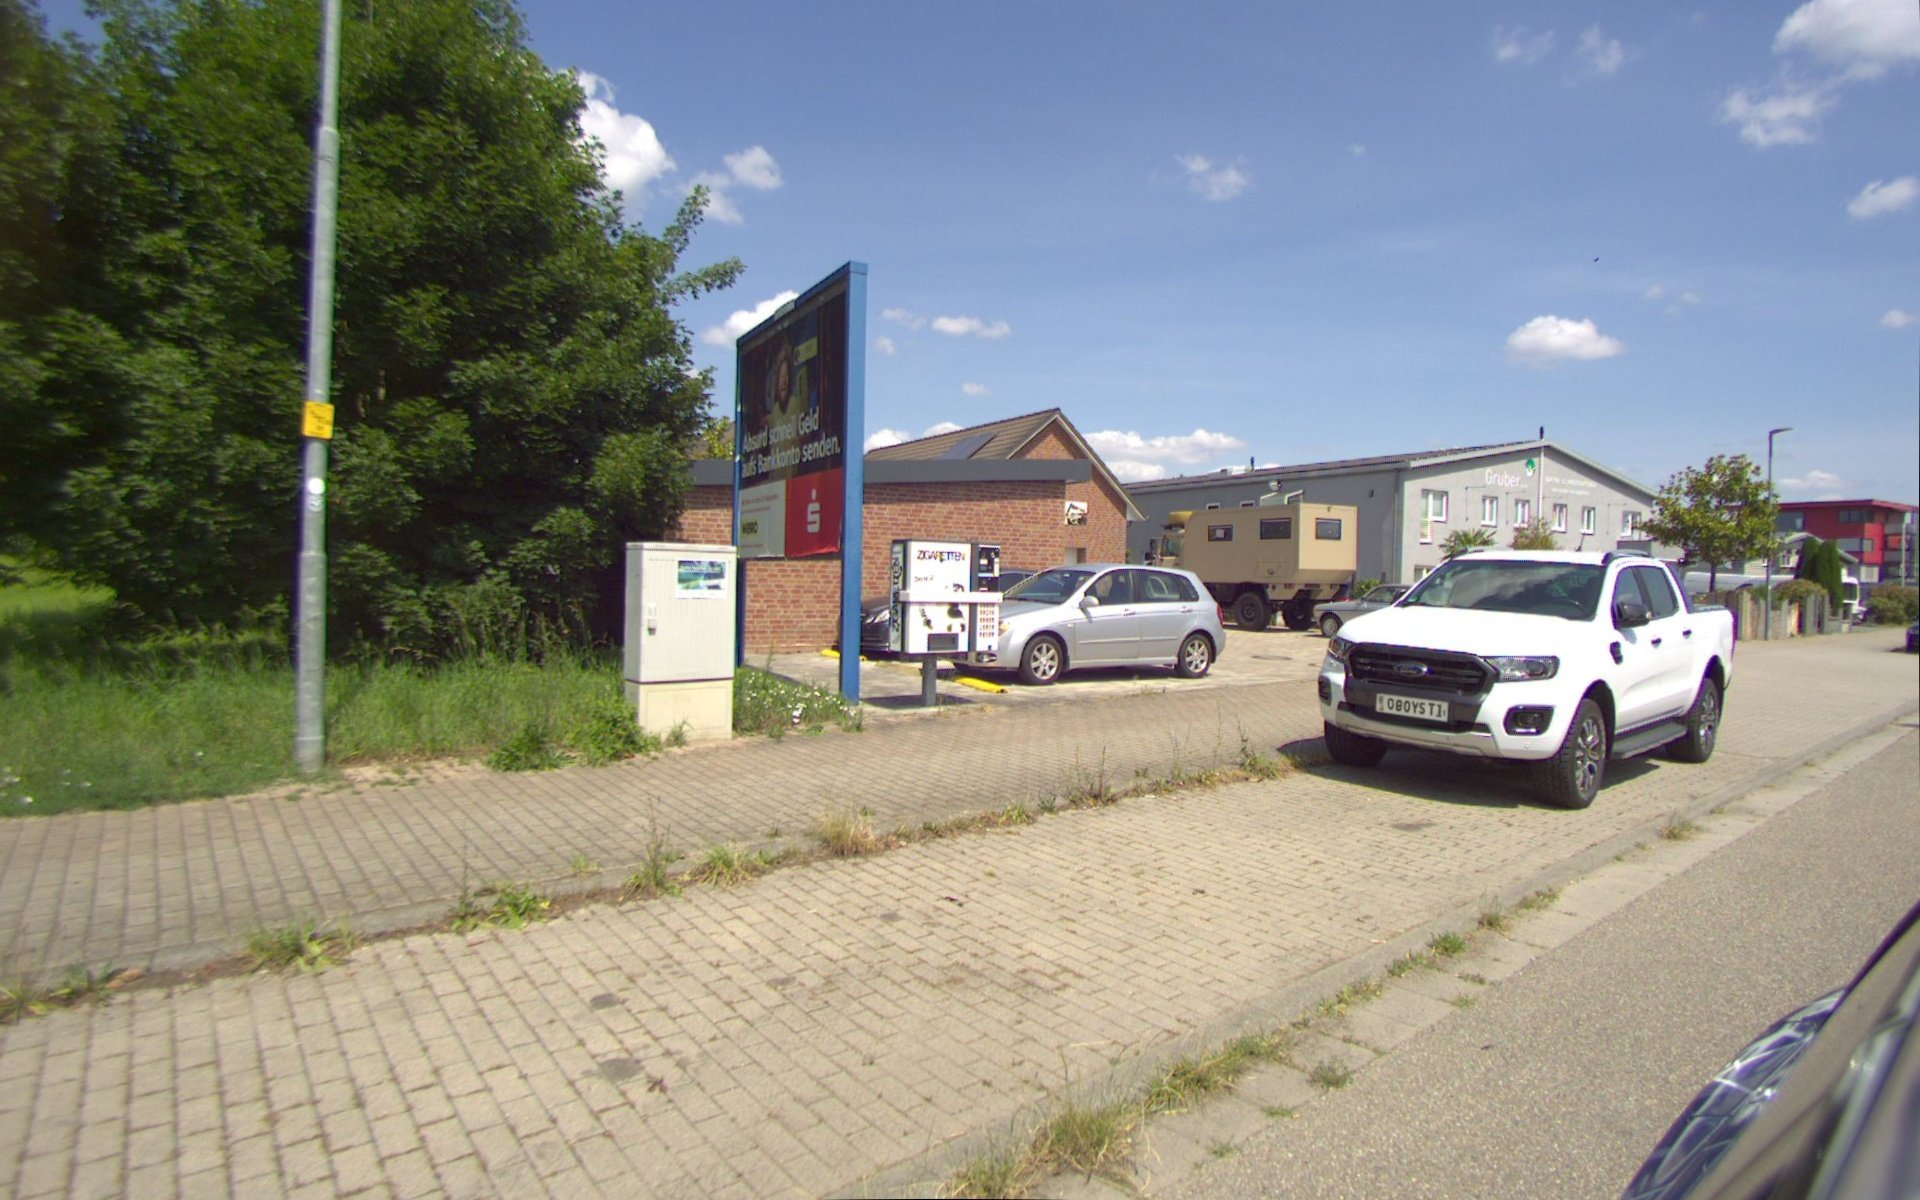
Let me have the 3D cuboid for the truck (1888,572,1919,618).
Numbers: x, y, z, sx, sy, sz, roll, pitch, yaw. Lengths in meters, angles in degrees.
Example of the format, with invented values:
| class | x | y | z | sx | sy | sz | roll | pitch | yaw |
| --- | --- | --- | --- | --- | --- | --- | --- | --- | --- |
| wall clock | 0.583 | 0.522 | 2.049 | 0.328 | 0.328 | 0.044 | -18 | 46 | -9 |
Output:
| class | x | y | z | sx | sy | sz | roll | pitch | yaw |
| --- | --- | --- | --- | --- | --- | --- | --- | --- | --- |
| truck | 60.119 | -0.262 | 62.649 | 5.669 | 2.722 | 2.388 | 1 | 2 | -32 |

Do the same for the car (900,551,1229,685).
| class | x | y | z | sx | sy | sz | roll | pitch | yaw |
| --- | --- | --- | --- | --- | --- | --- | --- | --- | --- |
| car | 1.408 | 0.177 | 13.224 | 3.922 | 1.498 | 1.913 | 1 | 2 | -33 |

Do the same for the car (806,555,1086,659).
| class | x | y | z | sx | sy | sz | roll | pitch | yaw |
| --- | --- | --- | --- | --- | --- | --- | --- | --- | --- |
| car | -0.182 | 0.078 | 15.485 | 3.920 | 1.393 | 1.754 | 1 | 2 | -31 |

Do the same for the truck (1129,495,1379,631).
| class | x | y | z | sx | sy | sz | roll | pitch | yaw |
| --- | --- | --- | --- | --- | --- | --- | --- | --- | --- |
| truck | 8.209 | -1.052 | 29.095 | 3.045 | 3.430 | 6.489 | 1 | 2 | -32 |

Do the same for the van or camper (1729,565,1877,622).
| class | x | y | z | sx | sy | sz | roll | pitch | yaw |
| --- | --- | --- | --- | --- | --- | --- | --- | --- | --- |
| van or camper | 41.071 | -0.356 | 49.457 | 1.959 | 2.565 | 5.118 | 1 | 2 | -26 |

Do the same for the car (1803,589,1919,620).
| class | x | y | z | sx | sy | sz | roll | pitch | yaw |
| --- | --- | --- | --- | --- | --- | --- | --- | --- | --- |
| car | 49.862 | 0.217 | 56.079 | 1.683 | 1.505 | 4.606 | 0 | 2 | -39 |

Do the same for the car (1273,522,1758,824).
| class | x | y | z | sx | sy | sz | roll | pitch | yaw |
| --- | --- | --- | --- | --- | --- | --- | --- | --- | --- |
| car | 4.966 | 0.400 | 8.591 | 5.330 | 1.837 | 1.851 | 0 | 3 | -41 |

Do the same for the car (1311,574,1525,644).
| class | x | y | z | sx | sy | sz | roll | pitch | yaw |
| --- | --- | --- | --- | --- | --- | --- | --- | --- | --- |
| car | 10.763 | 0.152 | 24.105 | 1.937 | 1.437 | 4.287 | 1 | 2 | -31 |

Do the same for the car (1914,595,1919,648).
| class | x | y | z | sx | sy | sz | roll | pitch | yaw |
| --- | --- | --- | --- | --- | --- | --- | --- | --- | --- |
| car | 29.059 | 0.653 | 29.175 | 4.635 | 1.490 | 1.766 | 0 | 3 | -41 |

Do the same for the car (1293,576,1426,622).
| class | x | y | z | sx | sy | sz | roll | pitch | yaw |
| --- | --- | --- | --- | --- | --- | --- | --- | --- | --- |
| car | 12.578 | -0.020 | 31.816 | 3.921 | 1.340 | 1.791 | 1 | 2 | -29 |

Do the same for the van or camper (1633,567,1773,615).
| class | x | y | z | sx | sy | sz | roll | pitch | yaw |
| --- | --- | --- | --- | --- | --- | --- | --- | --- | --- |
| van or camper | 41.045 | -0.538 | 56.120 | 2.091 | 2.467 | 5.850 | 1 | 2 | -30 |
